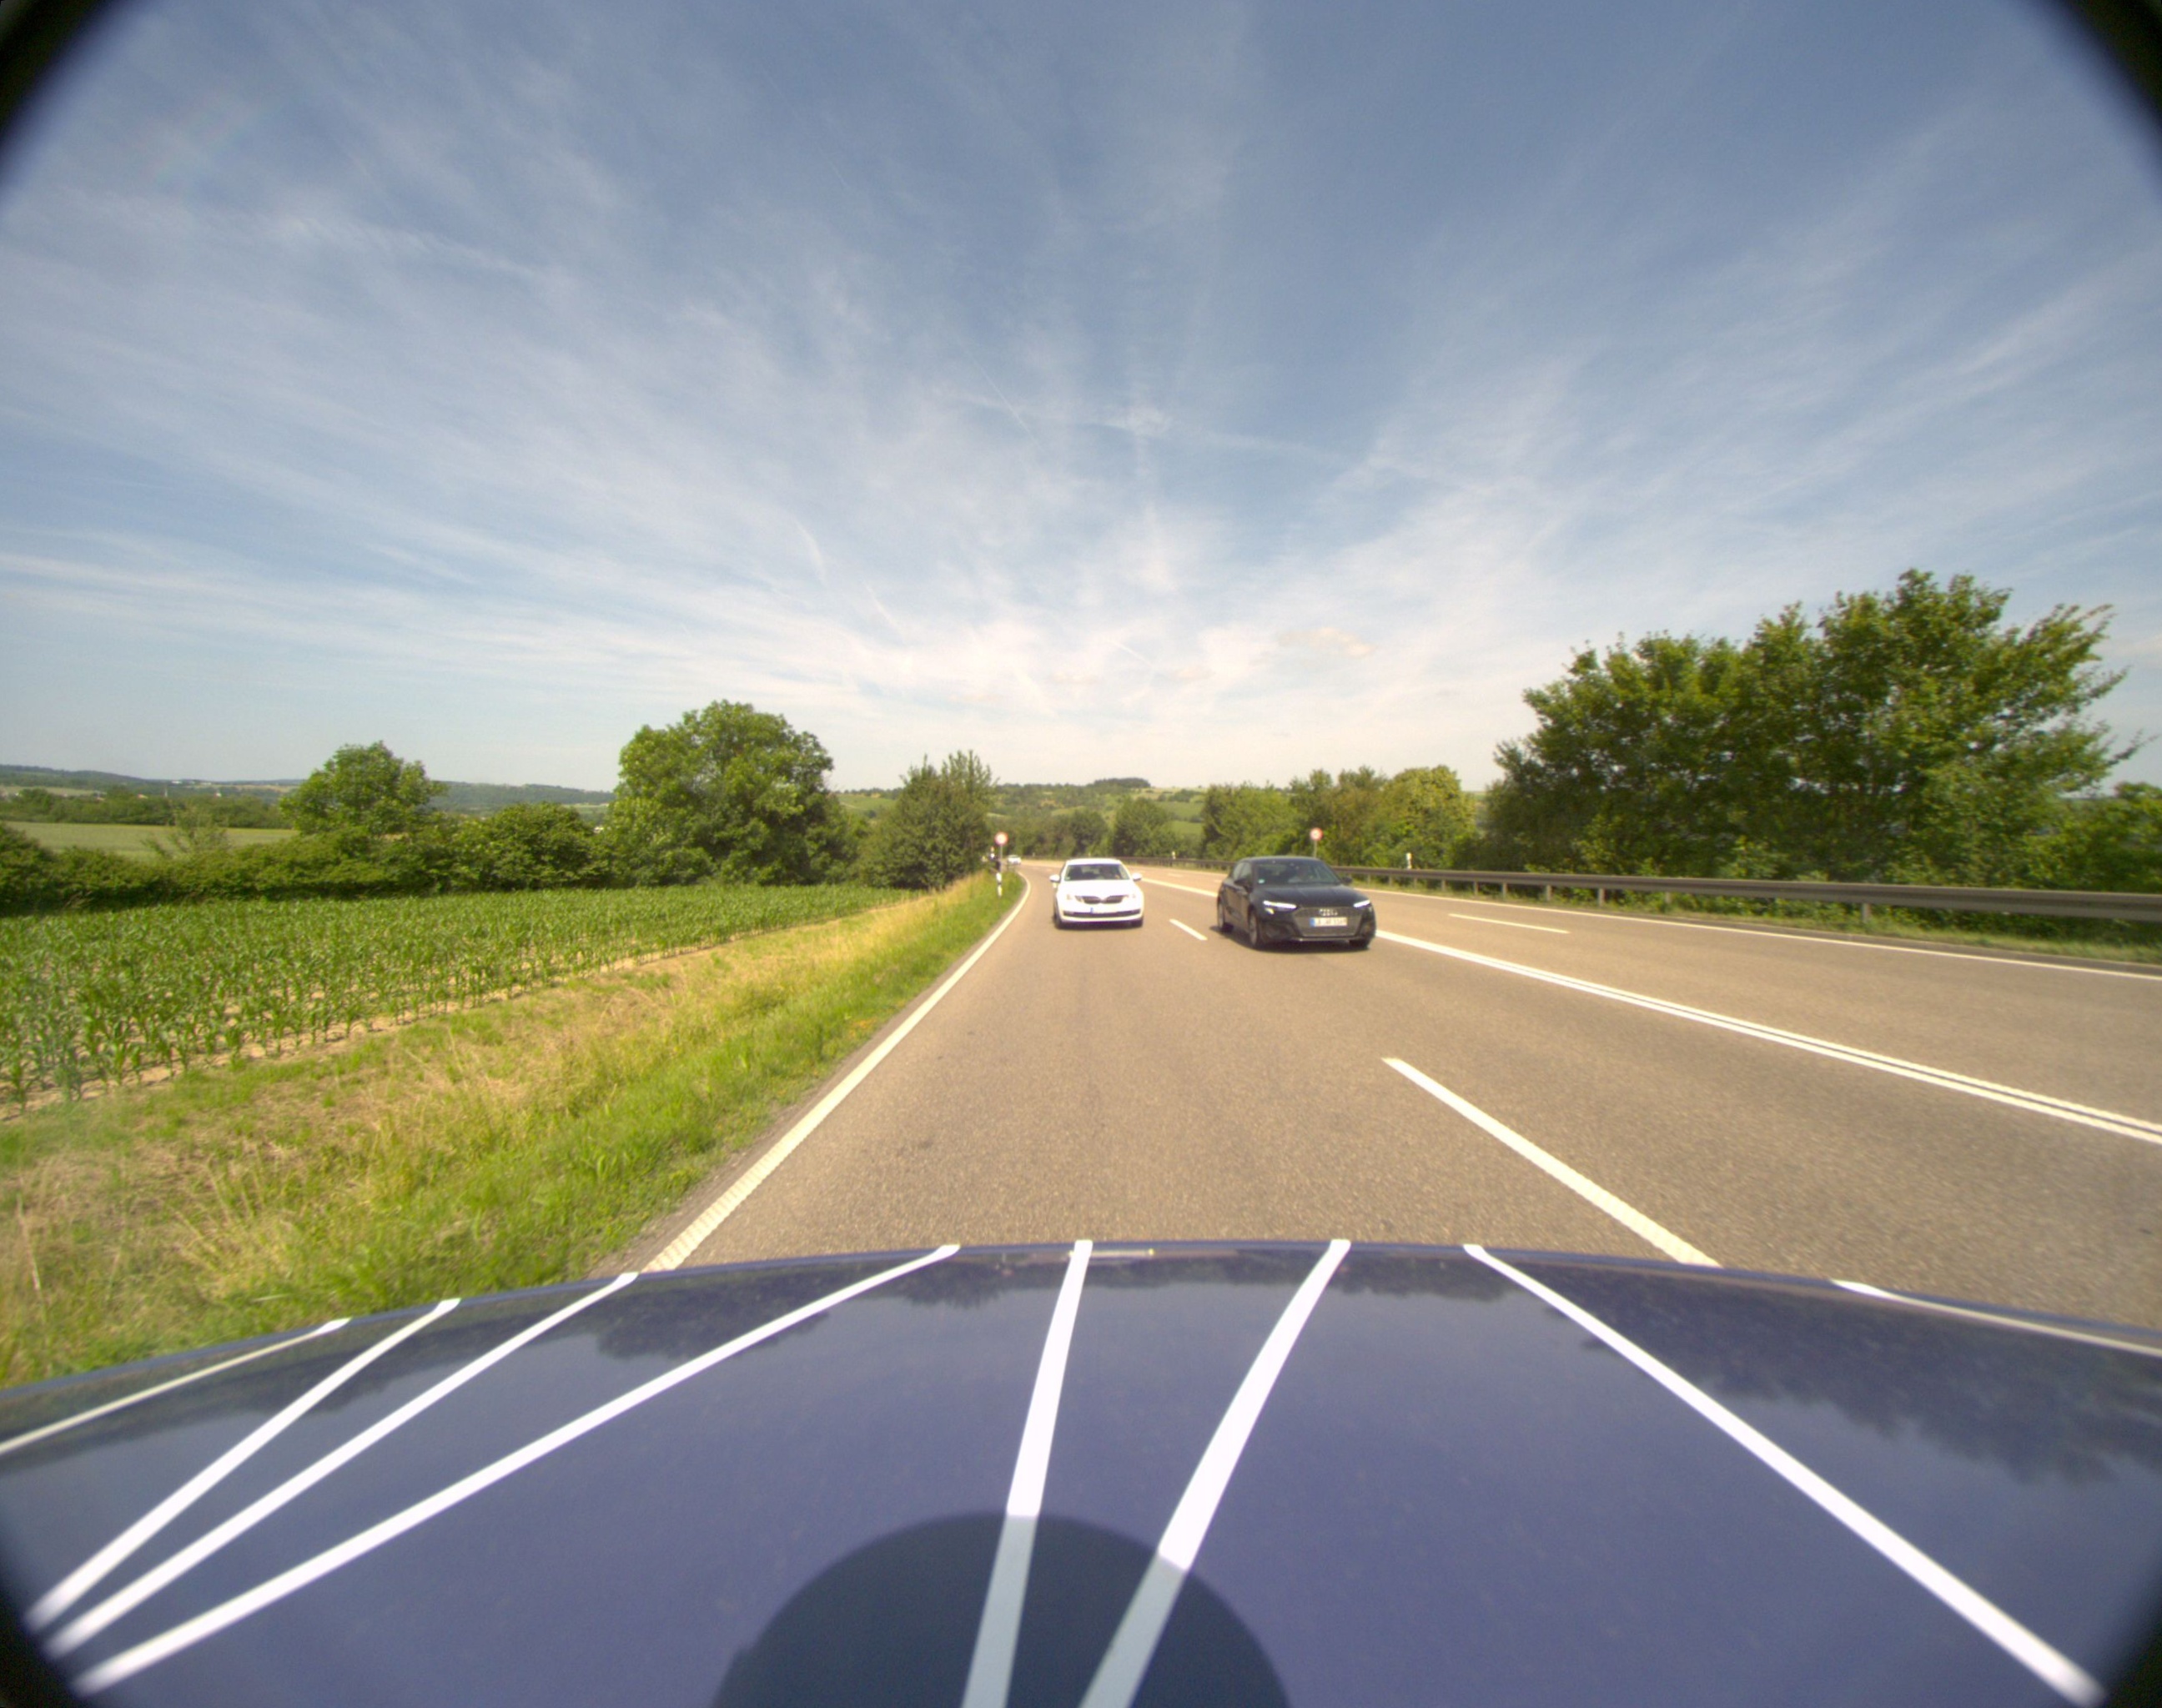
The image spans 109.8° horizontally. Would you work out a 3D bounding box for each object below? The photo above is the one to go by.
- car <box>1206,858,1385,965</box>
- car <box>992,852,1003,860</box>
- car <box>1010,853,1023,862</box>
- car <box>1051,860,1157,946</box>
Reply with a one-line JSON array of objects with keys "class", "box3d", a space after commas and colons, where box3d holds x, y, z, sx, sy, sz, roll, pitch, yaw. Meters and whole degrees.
[{"class": "car", "box3d": [3.441, 0.830, 13.180, 1.709, 1.463, 4.811, -1, 0, 0]}, {"class": "car", "box3d": [-18.385, 0.406, 167.156, 1.796, 1.797, 3.994, -2, 1, -17]}, {"class": "car", "box3d": [-9.896, 0.478, 116.663, 1.708, 1.368, 4.600, -1, 0, -7]}, {"class": "car", "box3d": [0.328, 0.889, 16.019, 1.826, 1.463, 4.787, -1, 0, -3]}]
